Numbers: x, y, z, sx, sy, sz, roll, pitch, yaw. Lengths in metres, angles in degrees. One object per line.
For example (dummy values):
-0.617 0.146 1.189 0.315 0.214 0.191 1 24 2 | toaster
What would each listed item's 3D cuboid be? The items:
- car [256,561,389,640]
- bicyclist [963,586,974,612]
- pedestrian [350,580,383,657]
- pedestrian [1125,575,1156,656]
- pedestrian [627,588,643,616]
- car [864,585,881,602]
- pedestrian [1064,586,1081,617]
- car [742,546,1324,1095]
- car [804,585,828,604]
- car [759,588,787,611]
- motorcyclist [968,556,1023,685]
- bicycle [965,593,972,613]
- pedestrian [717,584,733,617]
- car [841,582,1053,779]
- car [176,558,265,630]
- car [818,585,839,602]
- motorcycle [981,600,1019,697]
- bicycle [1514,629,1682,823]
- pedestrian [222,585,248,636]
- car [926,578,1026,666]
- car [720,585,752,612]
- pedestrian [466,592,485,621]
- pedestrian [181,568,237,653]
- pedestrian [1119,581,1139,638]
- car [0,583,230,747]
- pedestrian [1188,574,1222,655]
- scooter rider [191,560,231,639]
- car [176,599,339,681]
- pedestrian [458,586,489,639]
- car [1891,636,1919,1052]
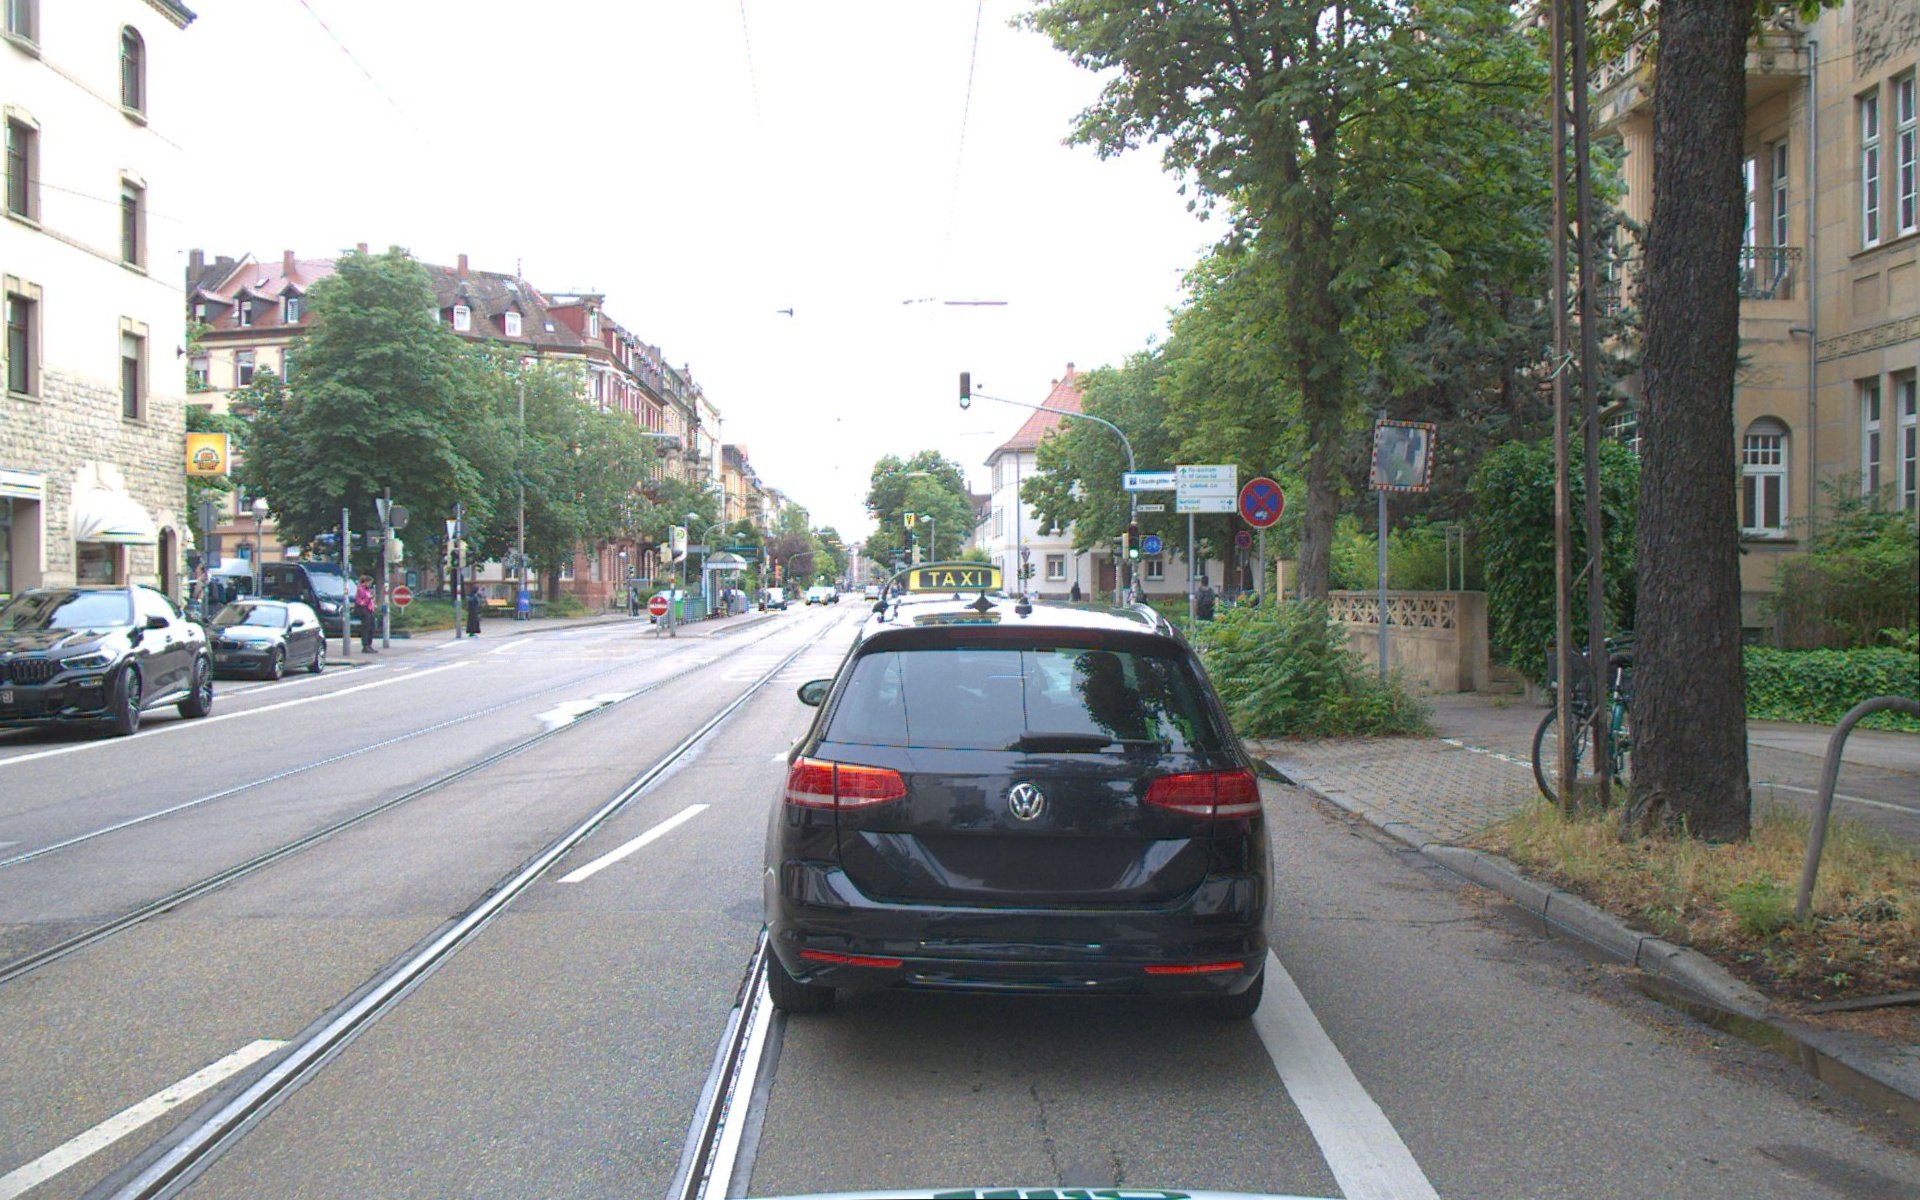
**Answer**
-20.932 0.001 54.172 2.170 2.459 5.291 -1 0 -45 | car
0.528 -0.061 101.889 0.637 1.595 0.696 -1 0 4 | bicyclist
-14.509 0.441 40.421 0.611 1.875 0.609 0 0 -5 | pedestrian
4.297 0.362 39.389 0.573 1.862 0.604 -3 0 -2 | pedestrian
-17.875 0.116 91.051 0.577 1.547 0.647 0 0 33 | pedestrian
-10.762 -0.770 203.564 1.992 2.049 3.998 1 0 -3 | car
5.636 0.065 82.889 0.604 1.581 0.574 0 0 -42 | pedestrian
0.131 0.617 6.784 1.689 1.573 3.998 0 0 -3 | car
-12.860 -0.482 147.744 1.758 1.624 4.000 -1 0 0 | car
-12.810 -0.044 113.425 1.687 1.490 3.861 -1 0 -3 | car
0.490 0.275 22.620 0.688 1.722 0.805 -1 0 4 | motorcyclist
0.514 0.176 101.837 0.291 1.244 1.431 -1 0 5 | bicycle
-10.999 0.011 77.441 0.700 1.547 0.589 0 0 -1 | pedestrian
-0.186 0.627 15.212 1.689 1.573 3.998 0 0 -3 | car
-27.677 -0.234 61.820 2.160 2.571 5.316 -1 0 -34 | car
-12.961 -0.613 163.575 1.758 1.624 4.000 -1 0 0 | car
0.557 0.637 22.733 0.437 1.257 1.908 -1 0 4 | motorcycle
4.402 0.813 11.339 0.425 1.219 1.892 0 -1 42 | bicycle
-25.228 0.358 57.554 0.694 1.745 0.543 -1 0 -43 | pedestrian
0.240 0.373 31.365 1.689 1.573 3.998 0 0 -3 | car
-14.079 -0.109 104.213 1.687 1.651 3.861 -1 0 -3 | car
-20.366 0.263 69.499 0.582 1.189 0.836 0 0 -31 | pedestrian
-18.372 0.256 40.475 0.954 2.049 0.835 -1 0 -3 | pedestrian
5.582 0.307 54.743 0.504 1.862 0.418 -3 0 -2 | pedestrian
-10.238 0.690 19.528 1.850 1.639 4.874 -3 1 -11 | car
5.649 0.321 38.139 0.619 1.846 0.725 0 0 -5 | pedestrian
-19.656 -0.019 43.430 0.740 2.049 0.644 -1 0 -2 | scooter rider
-13.364 0.721 31.726 1.616 1.385 4.125 2 0 -5 | car
-15.726 0.401 53.464 0.819 1.692 0.591 0 0 -1 | pedestrian
4.150 0.829 3.709 1.570 1.423 4.225 -2 1 -3 | car
